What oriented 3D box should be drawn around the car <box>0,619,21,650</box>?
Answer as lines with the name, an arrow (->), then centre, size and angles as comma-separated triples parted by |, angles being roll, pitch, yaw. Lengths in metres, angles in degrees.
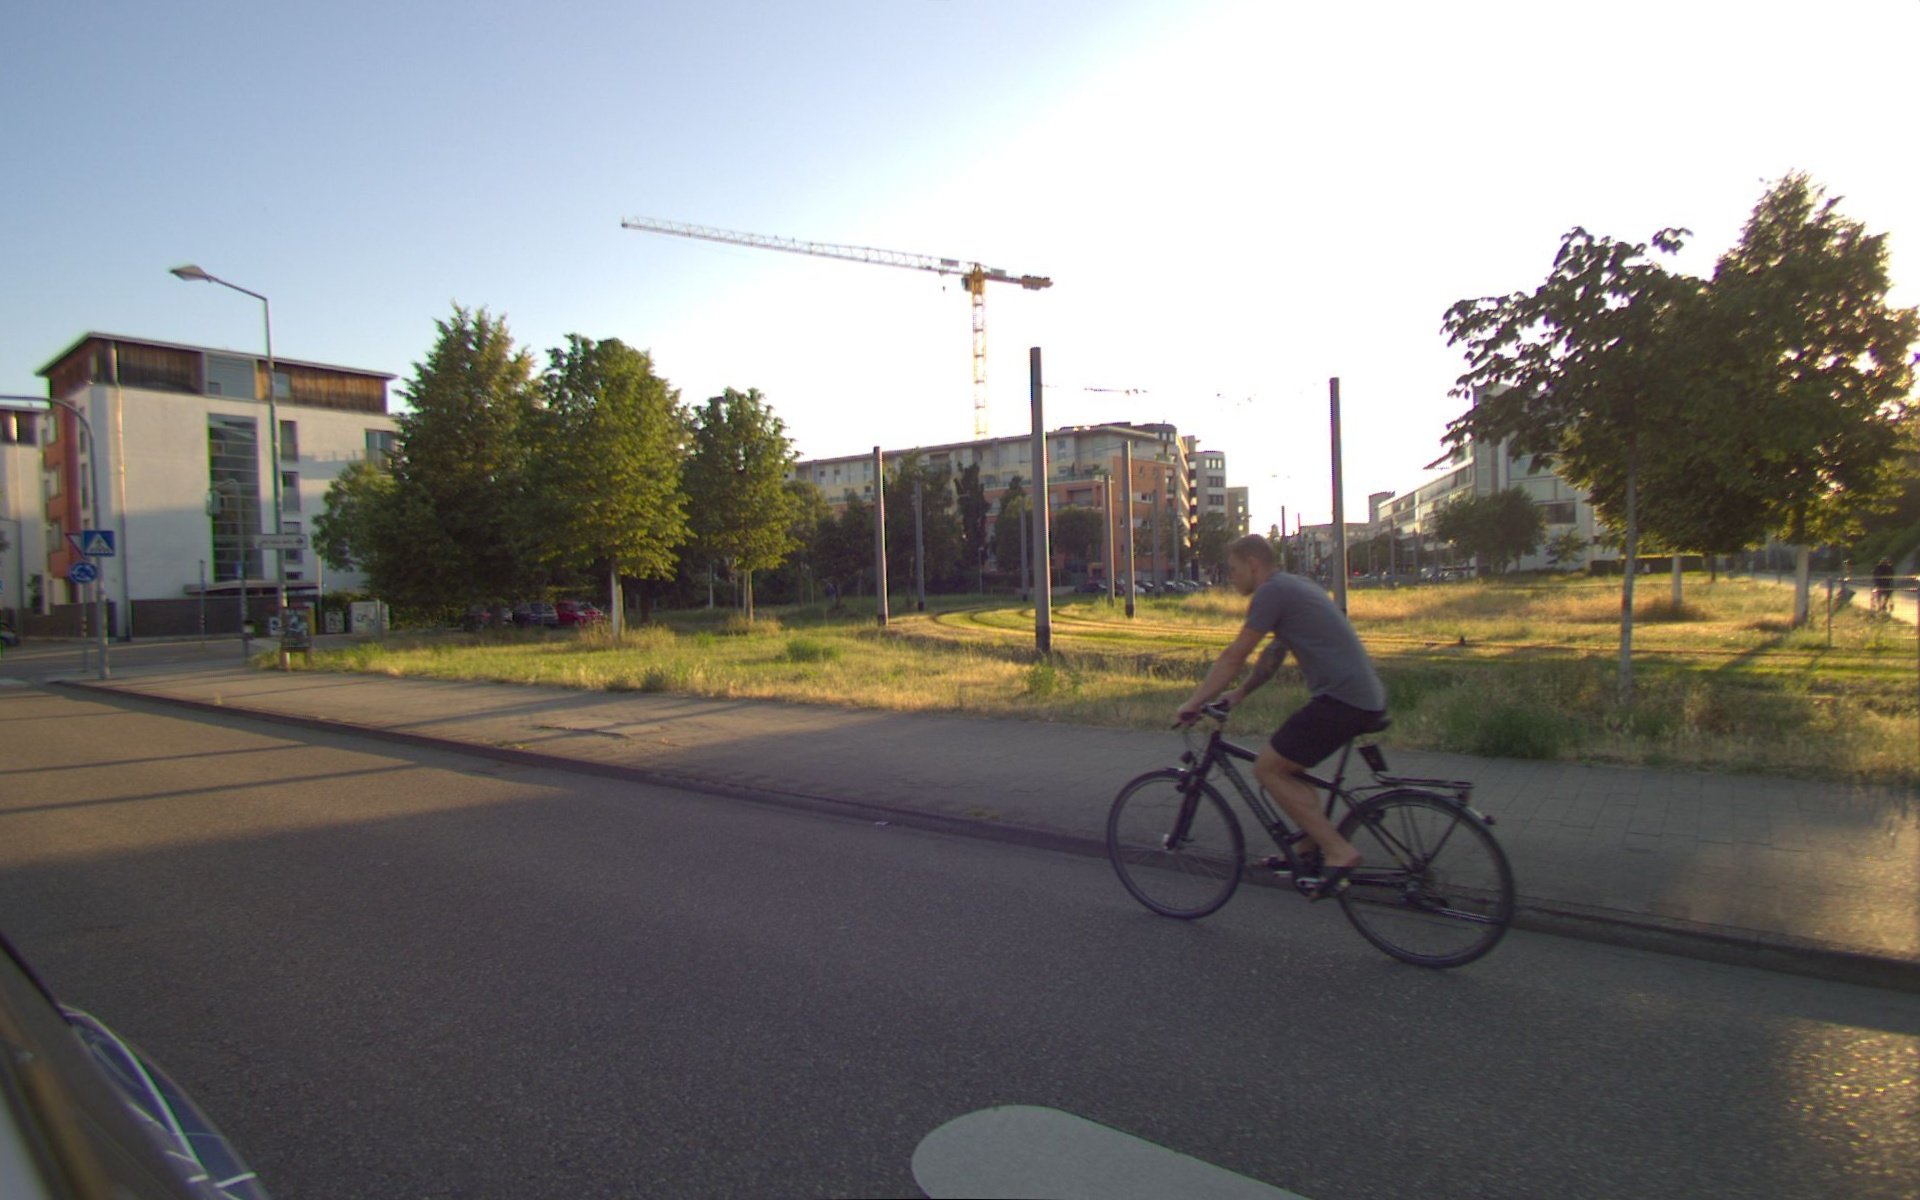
car -> -47.515, 1.764, 47.866 | 1.677, 1.468, 4.243 | -2, 1, 36

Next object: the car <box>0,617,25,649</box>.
car -> -51.053, 1.851, 51.618 | 1.710, 1.566, 4.724 | -2, 2, 42

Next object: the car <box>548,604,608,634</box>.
car -> -20.641, 1.031, 54.700 | 3.408, 1.511, 1.573 | -1, 1, 41

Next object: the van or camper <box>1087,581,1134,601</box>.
van or camper -> 14.013, -0.815, 94.373 | 3.875, 1.707, 1.811 | -3, 0, 39

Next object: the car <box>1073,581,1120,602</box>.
car -> 12.440, -0.806, 92.547 | 3.871, 1.707, 1.683 | -3, 0, 36

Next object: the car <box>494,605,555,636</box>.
car -> -22.740, 1.050, 52.848 | 3.408, 1.511, 1.573 | -1, 1, 41

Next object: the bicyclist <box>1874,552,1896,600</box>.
bicyclist -> 29.319, -0.767, 32.071 | 0.424, 1.506, 0.507 | -3, 0, 39

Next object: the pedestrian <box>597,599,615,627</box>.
pedestrian -> -20.905, 0.744, 59.727 | 0.655, 1.611, 0.705 | -1, 2, 34

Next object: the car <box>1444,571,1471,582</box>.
car -> 84.576, -4.035, 171.948 | 3.801, 1.625, 1.631 | -3, 0, 39

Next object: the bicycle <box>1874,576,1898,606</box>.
bicycle -> 29.334, -0.276, 32.070 | 0.430, 0.907, 1.220 | -3, 0, 37

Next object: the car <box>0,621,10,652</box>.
car -> -49.586, 1.962, 49.092 | 1.707, 1.489, 4.860 | -2, 2, 36

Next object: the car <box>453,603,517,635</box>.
car -> -24.174, 0.971, 51.476 | 3.408, 1.533, 1.668 | -1, 1, 41

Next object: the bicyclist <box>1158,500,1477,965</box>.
bicyclist -> 1.469, 0.484, 4.214 | 1.036, 1.675, 0.608 | -3, 0, 42

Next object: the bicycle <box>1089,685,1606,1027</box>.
bicycle -> 1.506, 0.928, 4.232 | 1.924, 1.051, 0.533 | -3, 0, 42
